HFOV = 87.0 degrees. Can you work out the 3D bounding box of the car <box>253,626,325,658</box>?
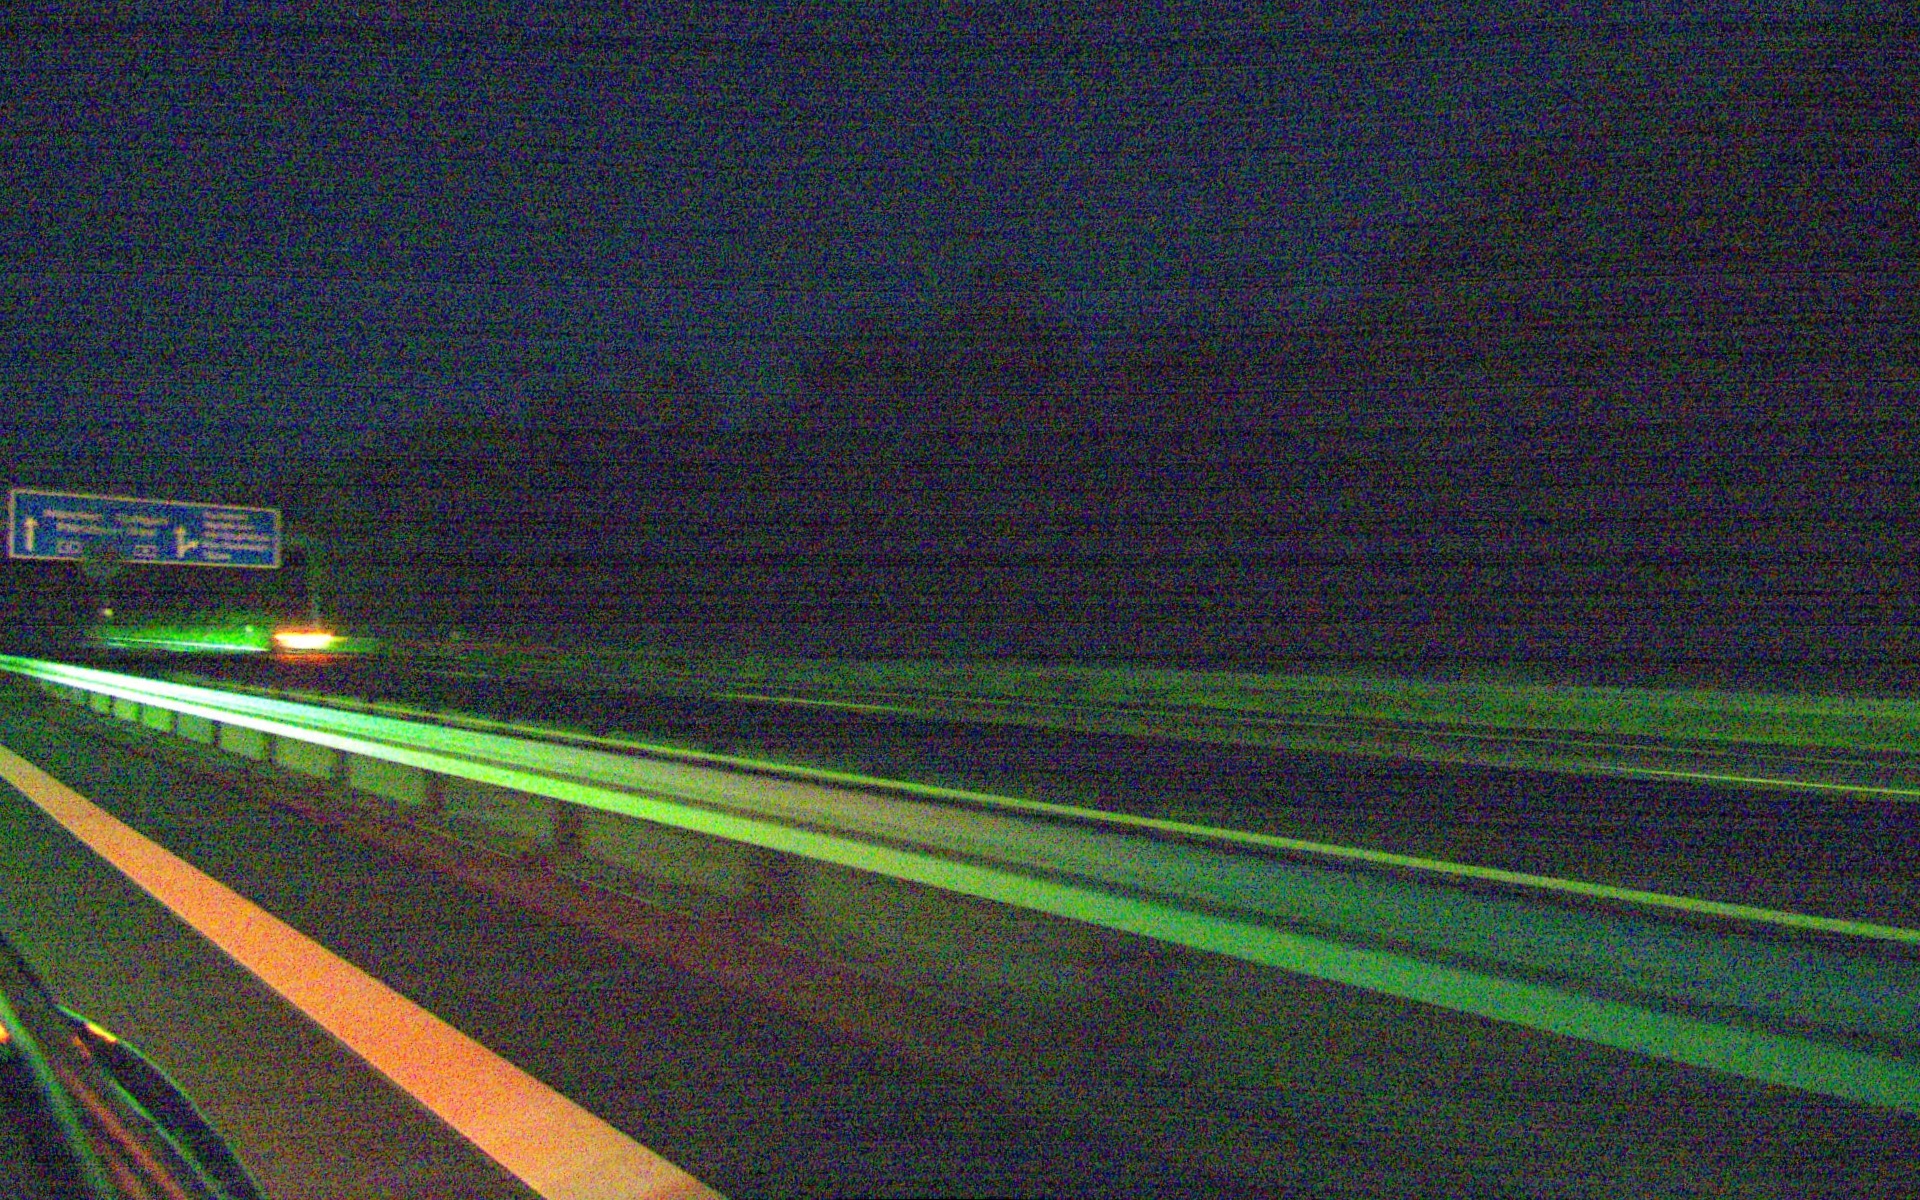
[{"bbox_3d":[-35.080,2.188,52.851,4.547,1.553,1.772,-1,-5,39],"label":"car"}]
